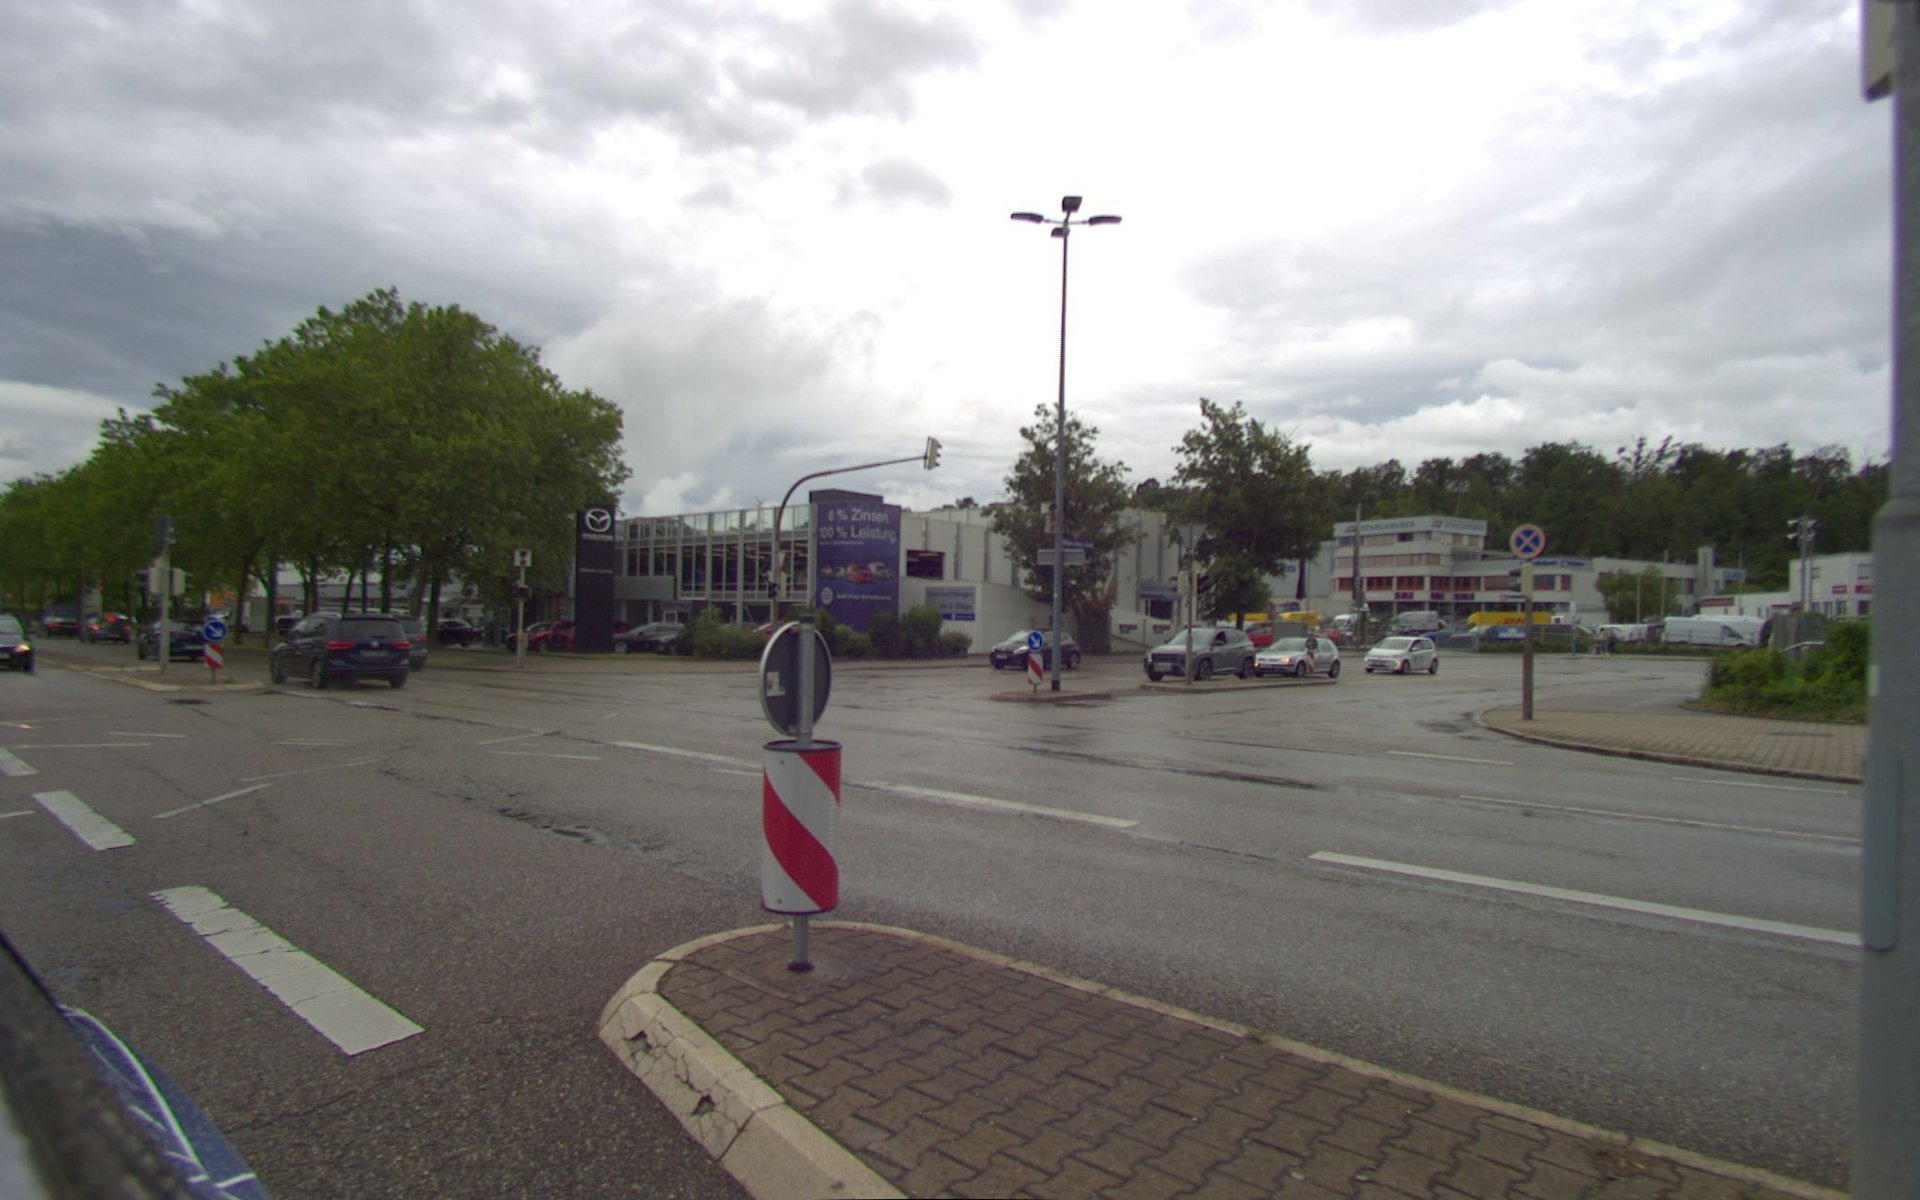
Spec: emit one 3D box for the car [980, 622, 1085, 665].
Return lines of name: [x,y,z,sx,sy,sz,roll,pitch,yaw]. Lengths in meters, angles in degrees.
car: [2.712,1.564,37.060,1.817,1.500,3.937,-1,-2,42]

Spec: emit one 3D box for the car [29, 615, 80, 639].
car: [-55.799,1.651,62.372,4.170,1.393,1.693,-1,-4,40]

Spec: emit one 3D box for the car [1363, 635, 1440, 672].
car: [17.756,2.120,40.679,3.333,1.410,1.506,2,-2,-39]

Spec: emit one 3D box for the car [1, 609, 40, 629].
car: [-72.364,1.459,77.967,4.082,1.476,1.692,0,-2,41]

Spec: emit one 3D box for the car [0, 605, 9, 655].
car: [-30.795,0.891,31.173,4.779,1.469,1.747,-1,-2,42]

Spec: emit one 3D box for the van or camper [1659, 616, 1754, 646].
van or camper: [51.614,2.157,70.111,5.044,2.029,1.979,-1,-2,31]

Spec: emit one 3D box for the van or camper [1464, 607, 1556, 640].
van or camper: [41.059,1.780,75.653,5.721,2.374,1.913,-1,-2,41]

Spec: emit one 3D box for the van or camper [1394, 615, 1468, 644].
van or camper: [34.276,2.141,73.709,4.760,2.029,1.960,-1,-2,30]

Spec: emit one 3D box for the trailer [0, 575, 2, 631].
trailer: [-35.682,0.584,35.545,5.542,2.919,2.348,0,-2,41]

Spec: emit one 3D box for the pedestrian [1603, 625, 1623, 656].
pedestrian: [40.618,2.528,62.967,0.711,1.900,0.748,1,-2,-14]

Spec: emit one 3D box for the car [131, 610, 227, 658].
car: [-27.300,1.184,35.335,3.995,1.592,1.694,-1,-3,38]

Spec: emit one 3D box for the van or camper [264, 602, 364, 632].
van or camper: [-41.747,1.101,65.587,2.246,1.835,5.271,0,-1,16]

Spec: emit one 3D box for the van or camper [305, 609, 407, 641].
van or camper: [-37.843,1.567,63.592,2.089,1.783,5.341,3,0,19]

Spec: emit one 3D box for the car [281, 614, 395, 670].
car: [-20.973,1.377,34.037,4.882,1.740,1.890,-1,-2,41]

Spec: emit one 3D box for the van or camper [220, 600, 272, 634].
van or camper: [-55.163,1.282,78.143,6.400,2.489,1.972,0,0,43]

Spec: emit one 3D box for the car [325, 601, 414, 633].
car: [-35.611,1.051,61.150,1.984,1.829,4.440,0,-1,19]

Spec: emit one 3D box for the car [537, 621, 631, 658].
car: [-17.983,1.912,48.595,1.996,1.665,4.206,1,-2,18]

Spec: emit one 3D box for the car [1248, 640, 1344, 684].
car: [11.674,2.114,35.095,1.878,1.410,3.648,-1,-2,42]

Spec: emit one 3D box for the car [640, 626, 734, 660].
car: [-11.774,1.835,43.806,1.687,1.401,3.705,-1,-2,37]

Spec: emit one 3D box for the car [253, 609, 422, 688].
car: [-14.117,1.031,22.877,4.358,1.620,1.892,-1,-2,39]

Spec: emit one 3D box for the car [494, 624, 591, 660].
car: [-20.716,2.070,50.463,1.984,1.608,4.540,0,0,19]

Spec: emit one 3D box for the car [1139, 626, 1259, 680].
car: [7.353,1.574,30.919,1.878,1.500,4.104,-1,-2,42]

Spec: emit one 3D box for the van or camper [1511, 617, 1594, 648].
van or camper: [40.150,2.208,68.648,1.824,2.061,4.593,2,-3,-44]

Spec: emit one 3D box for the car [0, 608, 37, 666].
car: [-26.462,0.961,27.430,4.076,1.501,1.695,-1,-2,42]

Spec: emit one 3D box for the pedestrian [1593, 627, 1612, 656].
pedestrian: [39.885,2.572,62.805,0.523,1.793,0.869,1,-2,-14]

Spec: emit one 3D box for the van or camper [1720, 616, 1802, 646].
van or camper: [56.111,2.136,70.971,4.224,2.029,1.806,-1,-1,29]

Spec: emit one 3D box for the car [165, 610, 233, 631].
car: [-74.956,2.036,99.768,2.128,2.029,4.994,0,-2,40]
